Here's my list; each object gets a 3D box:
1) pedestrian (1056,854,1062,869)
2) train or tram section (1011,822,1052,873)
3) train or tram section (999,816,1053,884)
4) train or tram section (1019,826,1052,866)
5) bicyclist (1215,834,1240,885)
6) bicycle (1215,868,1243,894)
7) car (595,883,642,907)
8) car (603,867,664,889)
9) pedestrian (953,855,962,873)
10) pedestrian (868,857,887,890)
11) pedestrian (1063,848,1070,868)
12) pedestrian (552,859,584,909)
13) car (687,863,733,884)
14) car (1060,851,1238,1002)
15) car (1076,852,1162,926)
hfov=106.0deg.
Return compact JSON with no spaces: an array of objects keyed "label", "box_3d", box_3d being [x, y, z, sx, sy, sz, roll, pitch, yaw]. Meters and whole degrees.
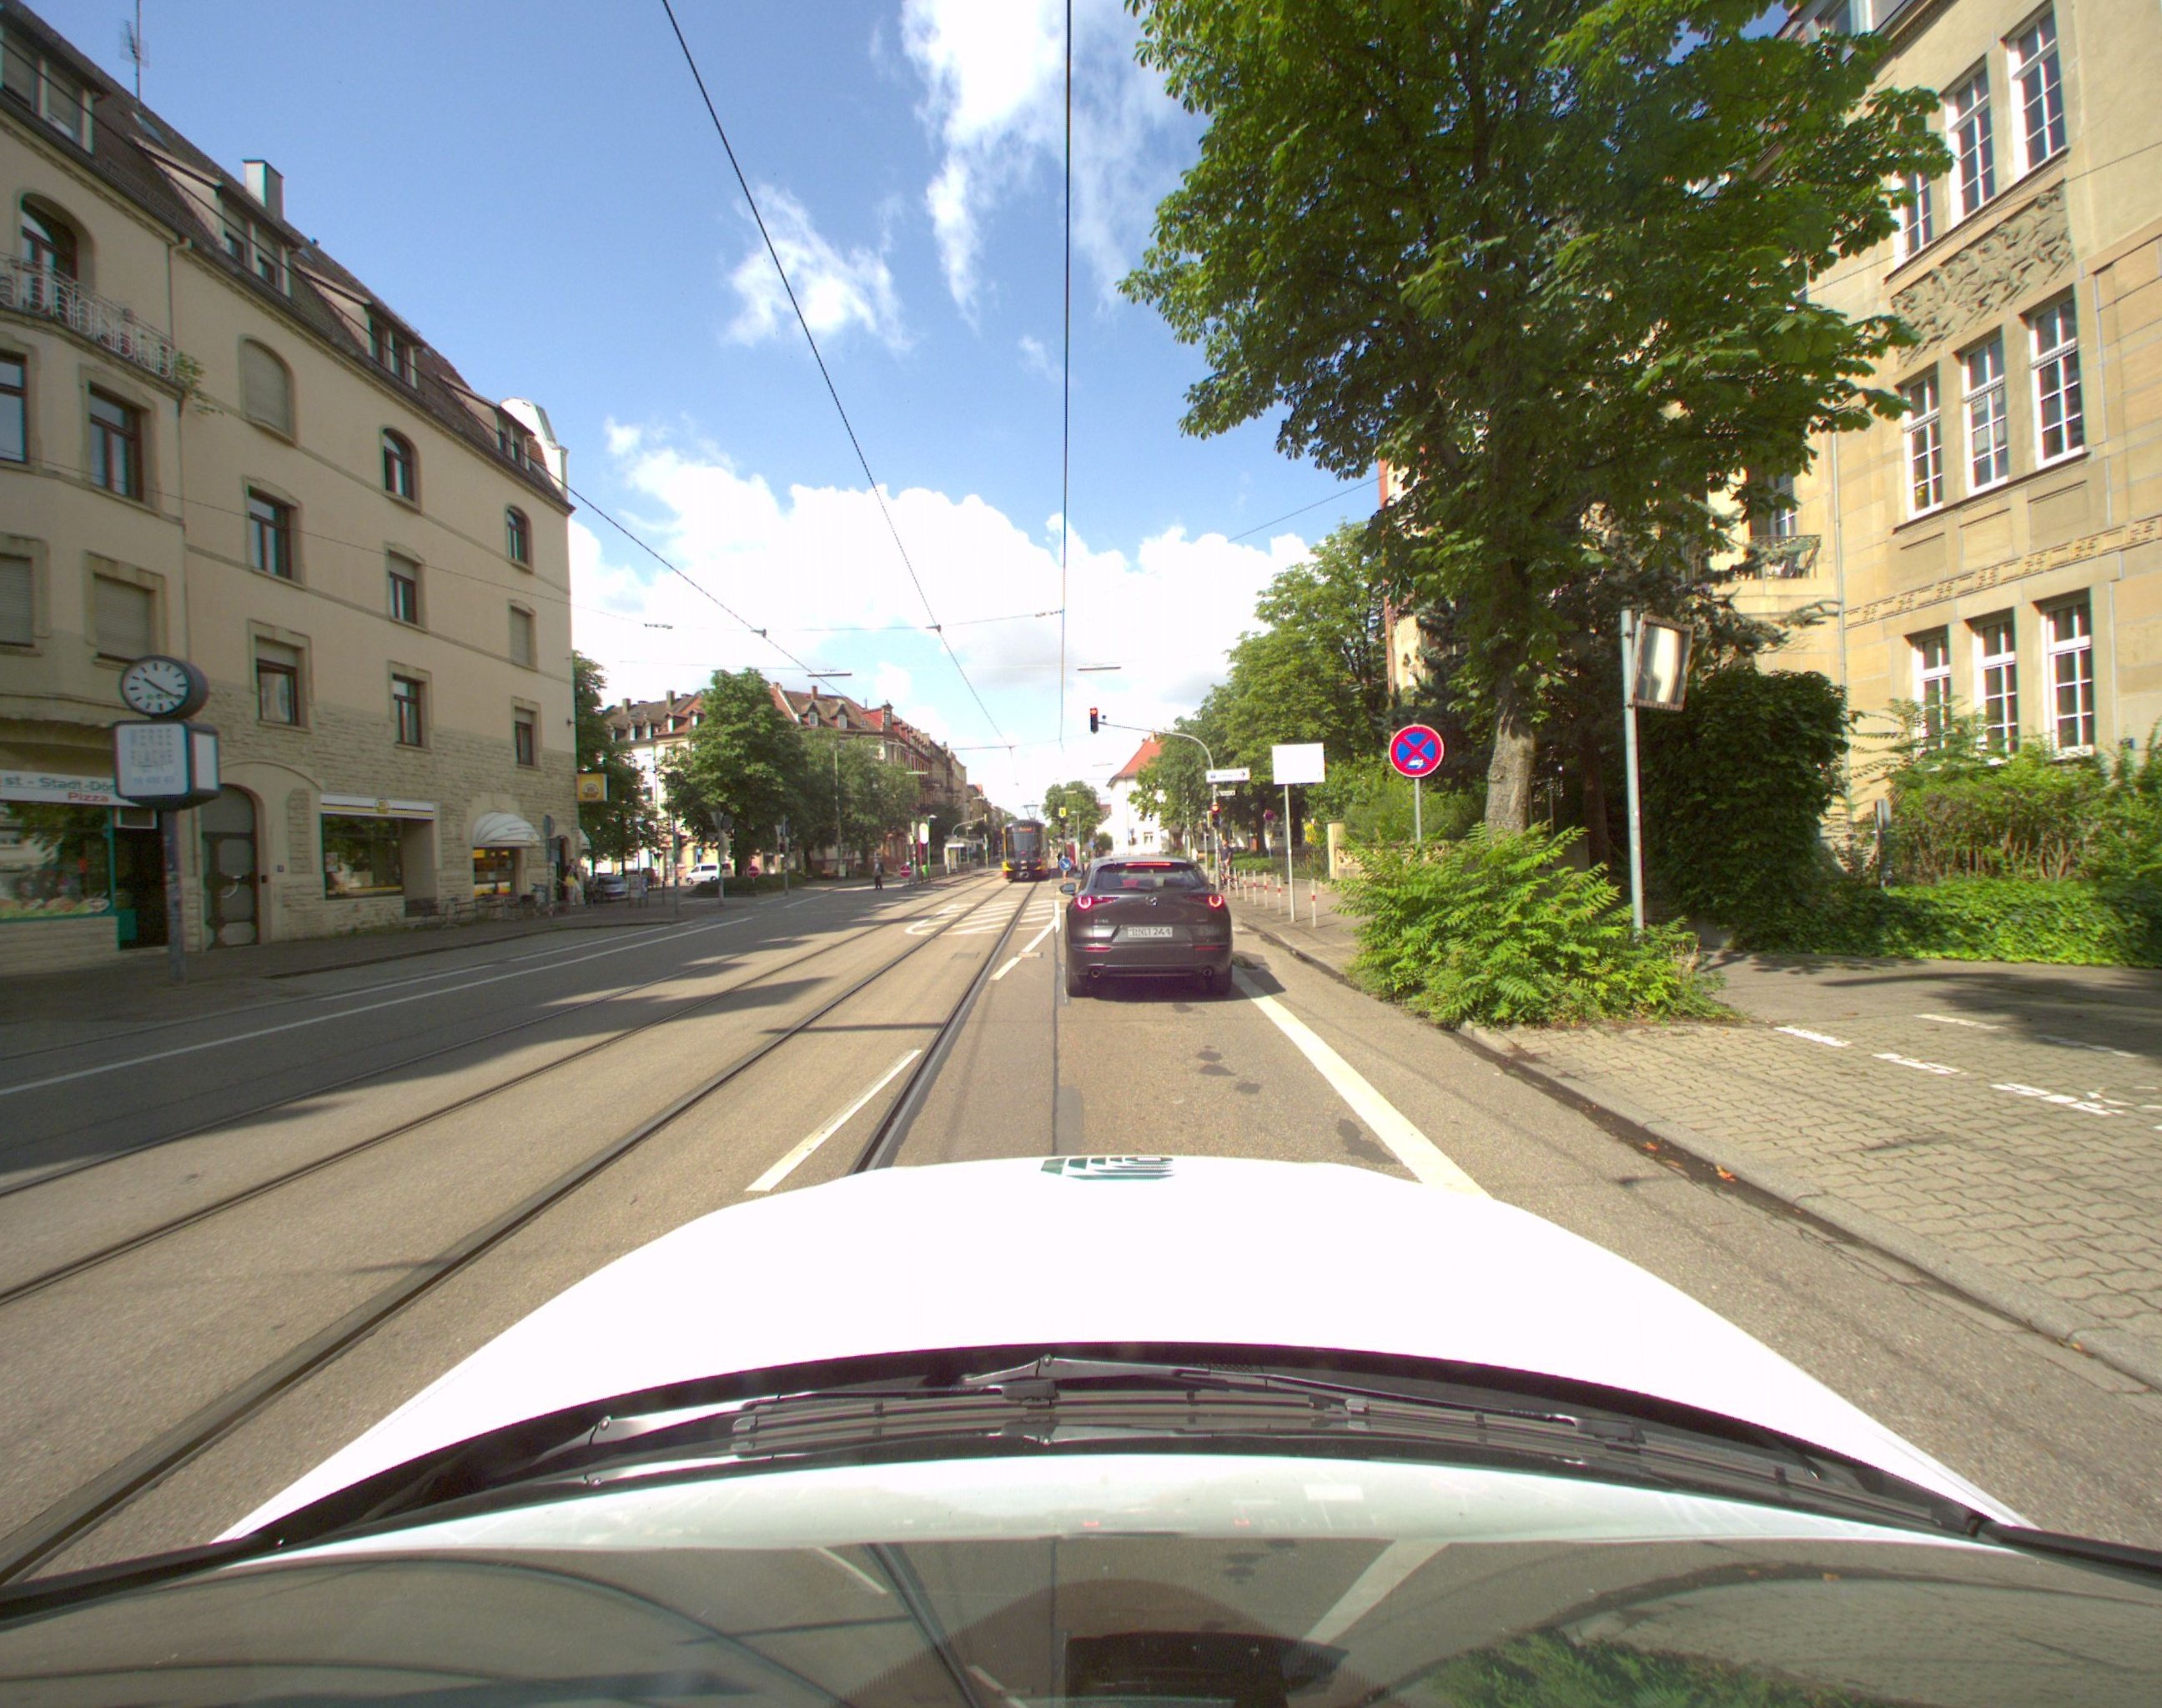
[{"label":"pedestrian","box_3d":[-1.584,0.523,59.585,0.379,1.071,0.474,-2,0,-2]},{"label":"train or tram section","box_3d":[-3.769,-0.569,65.194,2.746,3.490,14.396,-2,1,-2]},{"label":"train or tram section","box_3d":[-3.230,-0.344,50.809,2.746,3.490,14.396,-2,1,-2]},{"label":"train or tram section","box_3d":[-4.322,-0.814,79.564,2.746,3.490,14.396,-2,1,-2]},{"label":"bicyclist","box_3d":[5.281,0.185,29.404,0.650,1.793,0.614,-2,0,28]},{"label":"bicycle","box_3d":[5.375,0.974,29.533,0.488,0.824,1.709,-2,0,27]},{"label":"car","box_3d":[-26.063,2.283,45.821,1.687,1.182,3.954,-2,0,-38]},{"label":"car","box_3d":[-37.609,2.028,68.477,3.972,1.596,2.001,-3,0,2]},{"label":"pedestrian","box_3d":[-9.840,0.826,64.878,0.424,1.399,0.401,-2,0,32]},{"label":"pedestrian","box_3d":[-10.729,1.014,43.007,0.721,1.705,0.816,-2,0,-30]},{"label":"pedestrian","box_3d":[-1.078,0.317,59.672,0.449,1.434,0.474,-2,0,-3]},{"label":"pedestrian","box_3d":[-18.652,1.084,29.613,0.683,1.754,0.798,-2,0,-12]},{"label":"car","box_3d":[-36.694,1.949,80.480,3.950,1.903,2.012,-2,0,26]},{"label":"car","box_3d":[0.729,0.715,10.147,1.772,1.499,4.001,0,0,1]},{"label":"car","box_3d":[0.829,0.713,18.757,1.772,1.499,4.001,0,0,1]}]
